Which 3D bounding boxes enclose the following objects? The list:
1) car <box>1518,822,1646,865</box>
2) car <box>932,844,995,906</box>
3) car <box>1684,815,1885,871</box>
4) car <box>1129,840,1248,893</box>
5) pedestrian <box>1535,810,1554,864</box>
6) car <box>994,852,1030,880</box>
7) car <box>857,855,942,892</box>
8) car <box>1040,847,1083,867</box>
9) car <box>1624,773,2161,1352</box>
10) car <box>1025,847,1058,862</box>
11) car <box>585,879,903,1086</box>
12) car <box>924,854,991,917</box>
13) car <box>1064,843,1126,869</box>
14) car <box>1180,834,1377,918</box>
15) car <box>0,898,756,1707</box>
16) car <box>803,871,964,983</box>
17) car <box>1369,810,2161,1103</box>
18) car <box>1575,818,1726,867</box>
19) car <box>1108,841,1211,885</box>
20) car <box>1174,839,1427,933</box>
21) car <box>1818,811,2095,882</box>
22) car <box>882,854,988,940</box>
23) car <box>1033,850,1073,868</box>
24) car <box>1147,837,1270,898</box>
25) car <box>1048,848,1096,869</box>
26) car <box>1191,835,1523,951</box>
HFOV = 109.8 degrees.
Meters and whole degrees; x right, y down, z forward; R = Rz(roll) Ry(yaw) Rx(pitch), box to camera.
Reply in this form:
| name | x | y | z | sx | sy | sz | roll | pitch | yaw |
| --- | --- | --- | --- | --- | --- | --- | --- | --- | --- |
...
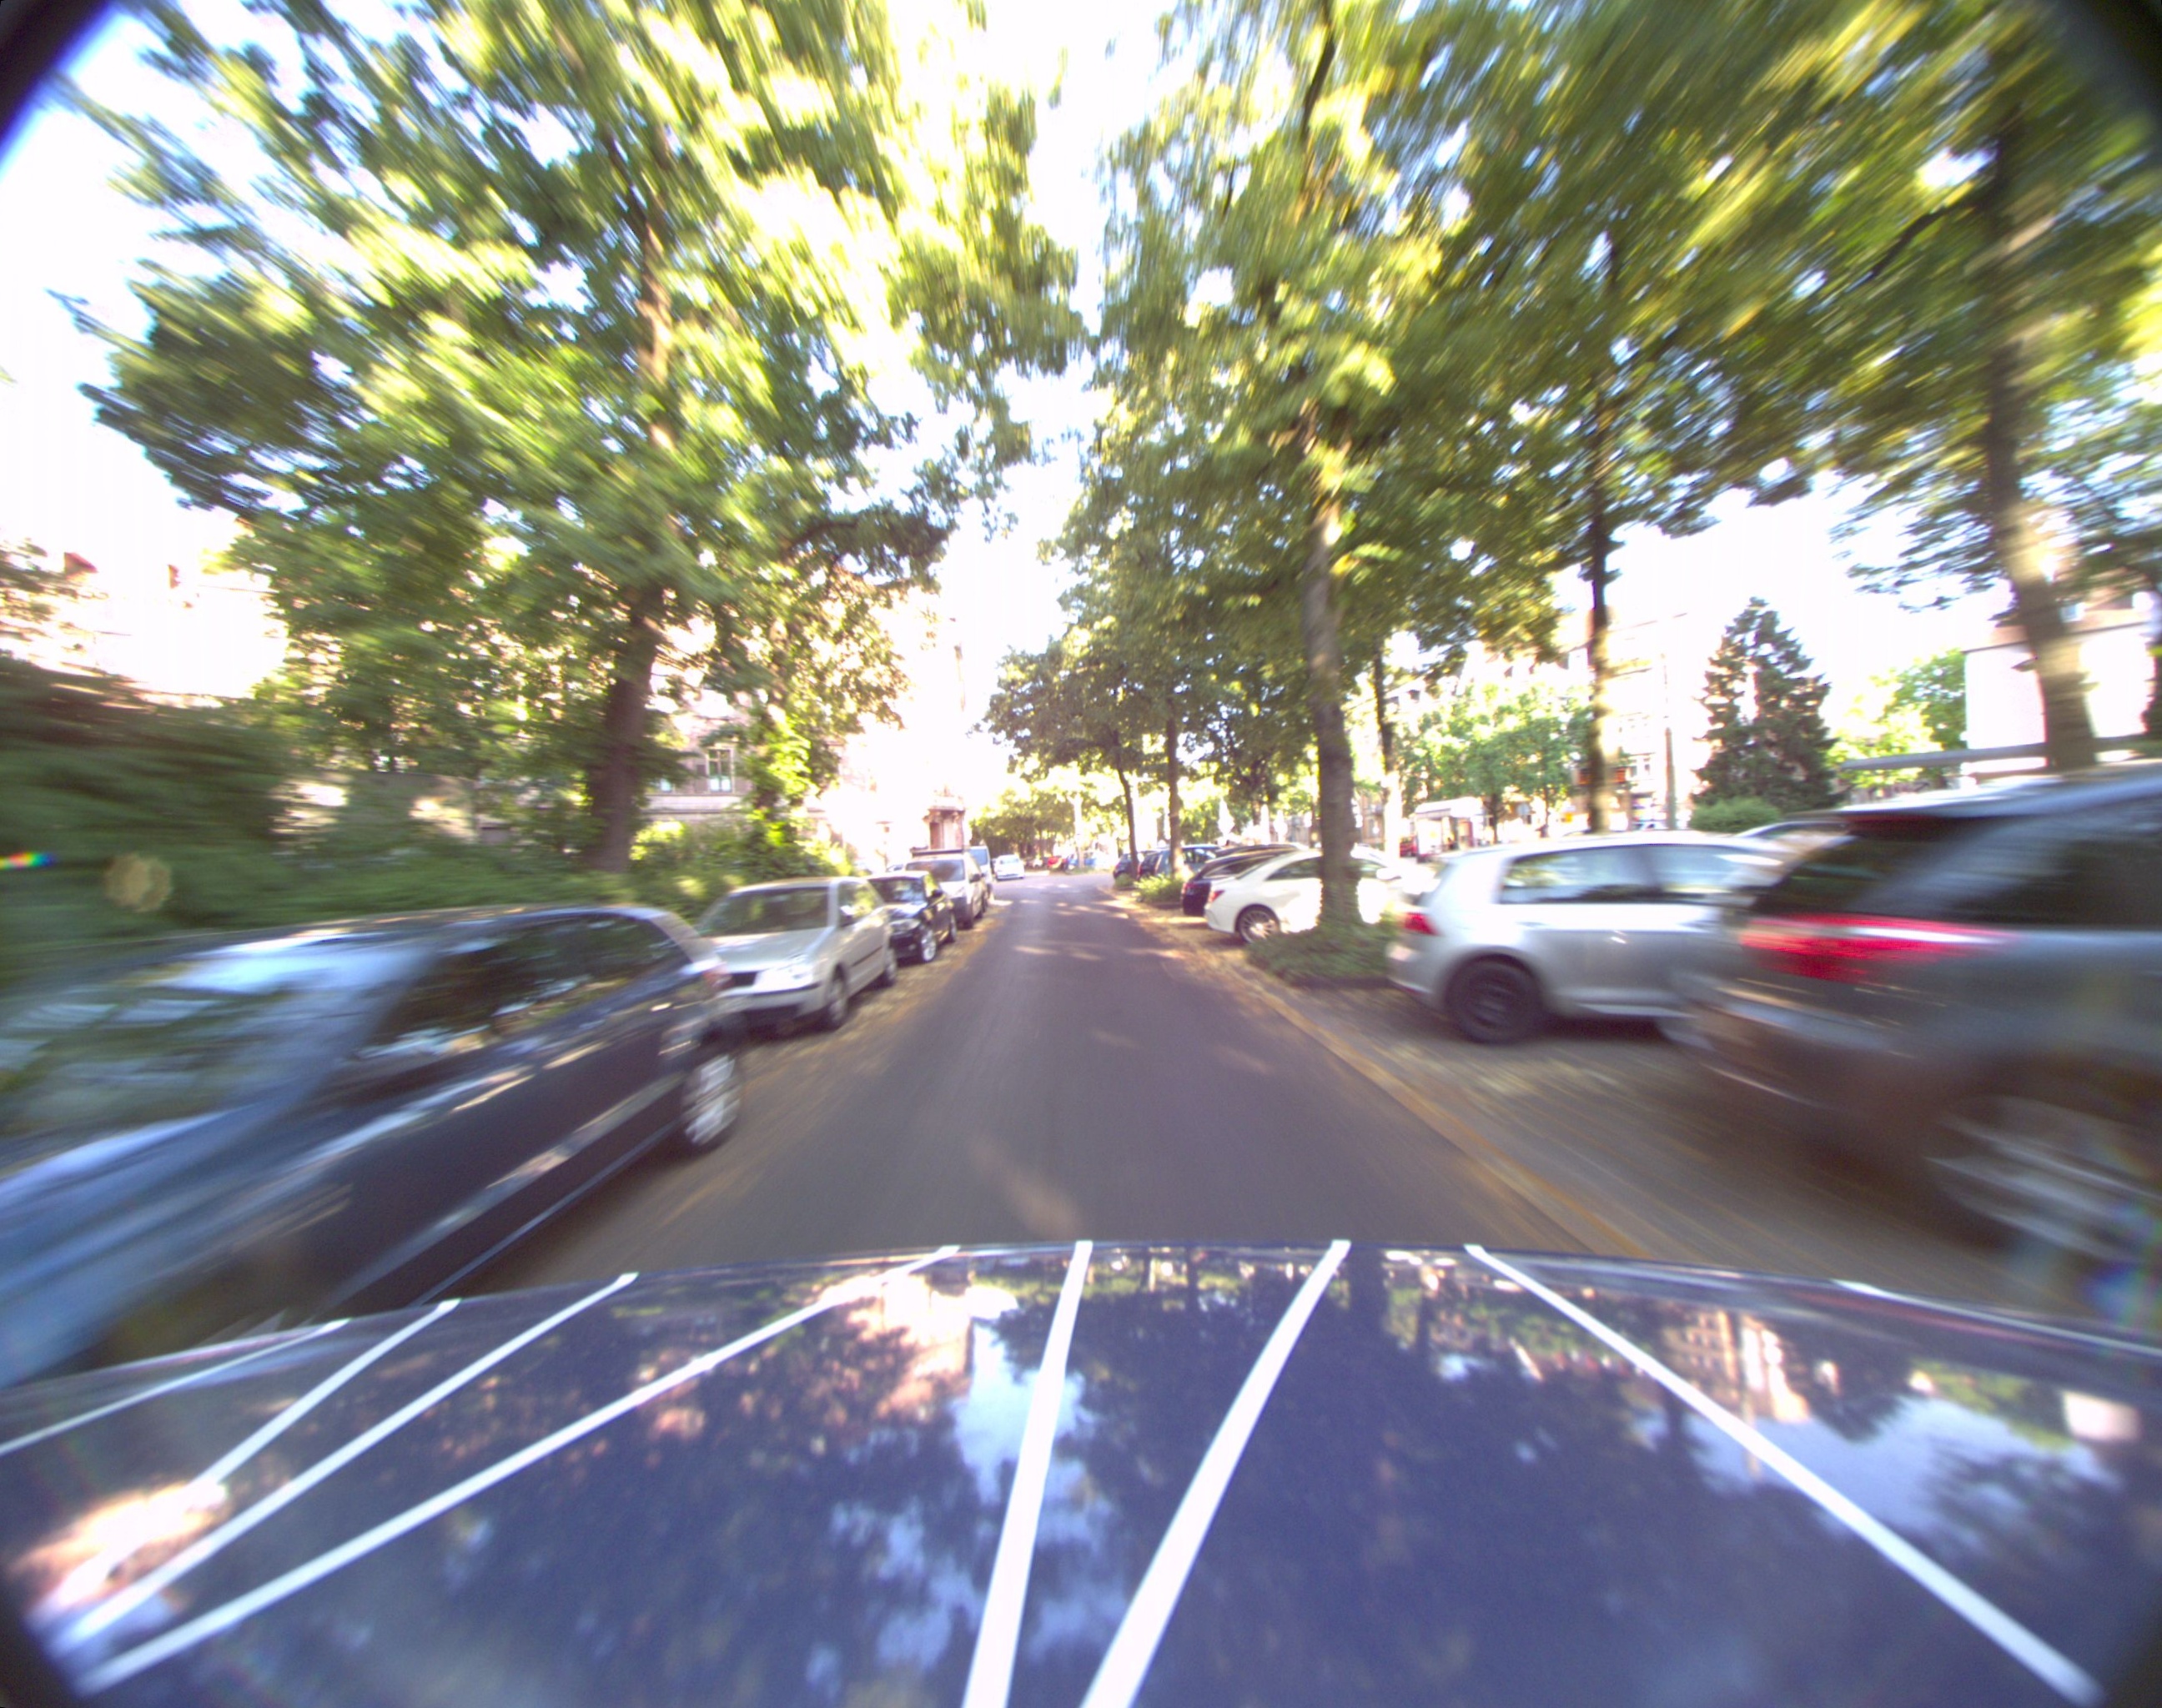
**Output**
| name | x | y | z | sx | sy | sz | roll | pitch | yaw |
| --- | --- | --- | --- | --- | --- | --- | --- | --- | --- |
| car | 19.909 | -0.419 | 30.430 | 4.139 | 1.612 | 1.891 | 0 | 2 | 29 |
| car | -4.171 | 0.678 | 27.721 | 1.972 | 1.924 | 5.452 | -3 | 1 | -7 |
| car | 20.057 | -0.308 | 21.910 | 3.989 | 1.510 | 1.590 | 0 | 2 | 31 |
| car | 3.760 | 0.437 | 26.560 | 3.687 | 1.440 | 1.637 | -5 | 2 | 25 |
| pedestrian | 17.654 | -0.642 | 28.949 | 0.536 | 2.002 | 0.644 | -2 | 1 | 31 |
| car | -4.804 | 0.787 | 52.388 | 1.942 | 1.613 | 4.239 | -6 | 1 | -10 |
| car | -9.671 | 1.032 | 40.579 | 4.006 | 1.637 | 1.681 | -3 | -2 | -31 |
| car | -2.099 | 0.345 | 82.285 | 4.235 | 1.658 | 1.636 | -5 | 2 | 20 |
| car | 4.533 | 0.503 | 2.564 | 4.032 | 1.653 | 1.859 | -5 | 1 | 26 |
| car | -5.285 | 0.072 | 102.081 | 4.241 | 1.658 | 1.634 | -6 | 2 | -4 |
| car | -3.183 | 1.106 | 8.123 | 1.677 | 1.450 | 3.892 | -3 | 1 | -2 |
| car | -3.607 | 0.860 | 22.737 | 1.571 | 1.606 | 3.893 | -3 | 1 | -5 |
| car | 1.110 | 0.173 | 60.407 | 4.434 | 1.613 | 1.636 | -5 | 2 | 20 |
| car | 4.509 | 0.493 | 17.276 | 3.992 | 1.503 | 1.963 | -5 | 0 | 23 |
| car | -2.874 | 1.053 | 2.681 | 1.676 | 1.450 | 3.893 | -3 | 1 | 0 |
| car | -3.132 | 1.082 | 12.944 | 1.677 | 1.382 | 4.265 | -3 | 1 | -2 |
| car | 4.485 | 0.630 | 5.405 | 4.234 | 1.432 | 1.859 | -5 | 1 | 29 |
| car | 20.171 | -0.415 | 27.159 | 4.139 | 1.612 | 1.891 | 0 | 2 | 31 |
| car | 3.329 | 0.385 | 32.222 | 3.889 | 1.440 | 1.637 | -5 | 2 | 25 |
| car | 4.174 | 0.613 | 14.516 | 4.304 | 1.396 | 1.747 | -5 | 0 | 25 |
| car | 20.356 | -0.151 | 17.937 | 3.872 | 1.436 | 1.857 | -3 | 1 | 30 |
| car | -3.340 | 0.894 | 18.179 | 1.792 | 1.698 | 4.375 | -3 | 1 | -3 |
| car | -3.229 | 0.587 | 88.635 | 4.235 | 1.658 | 1.636 | -5 | 2 | 20 |
| car | 3.966 | 0.423 | 23.709 | 3.346 | 1.559 | 1.574 | -5 | 0 | 27 |
| car | -0.890 | 0.432 | 74.073 | 4.235 | 1.658 | 1.636 | -5 | 2 | 20 |
| car | 4.196 | 0.621 | 11.787 | 4.456 | 1.396 | 1.860 | -5 | 0 | 29 |
